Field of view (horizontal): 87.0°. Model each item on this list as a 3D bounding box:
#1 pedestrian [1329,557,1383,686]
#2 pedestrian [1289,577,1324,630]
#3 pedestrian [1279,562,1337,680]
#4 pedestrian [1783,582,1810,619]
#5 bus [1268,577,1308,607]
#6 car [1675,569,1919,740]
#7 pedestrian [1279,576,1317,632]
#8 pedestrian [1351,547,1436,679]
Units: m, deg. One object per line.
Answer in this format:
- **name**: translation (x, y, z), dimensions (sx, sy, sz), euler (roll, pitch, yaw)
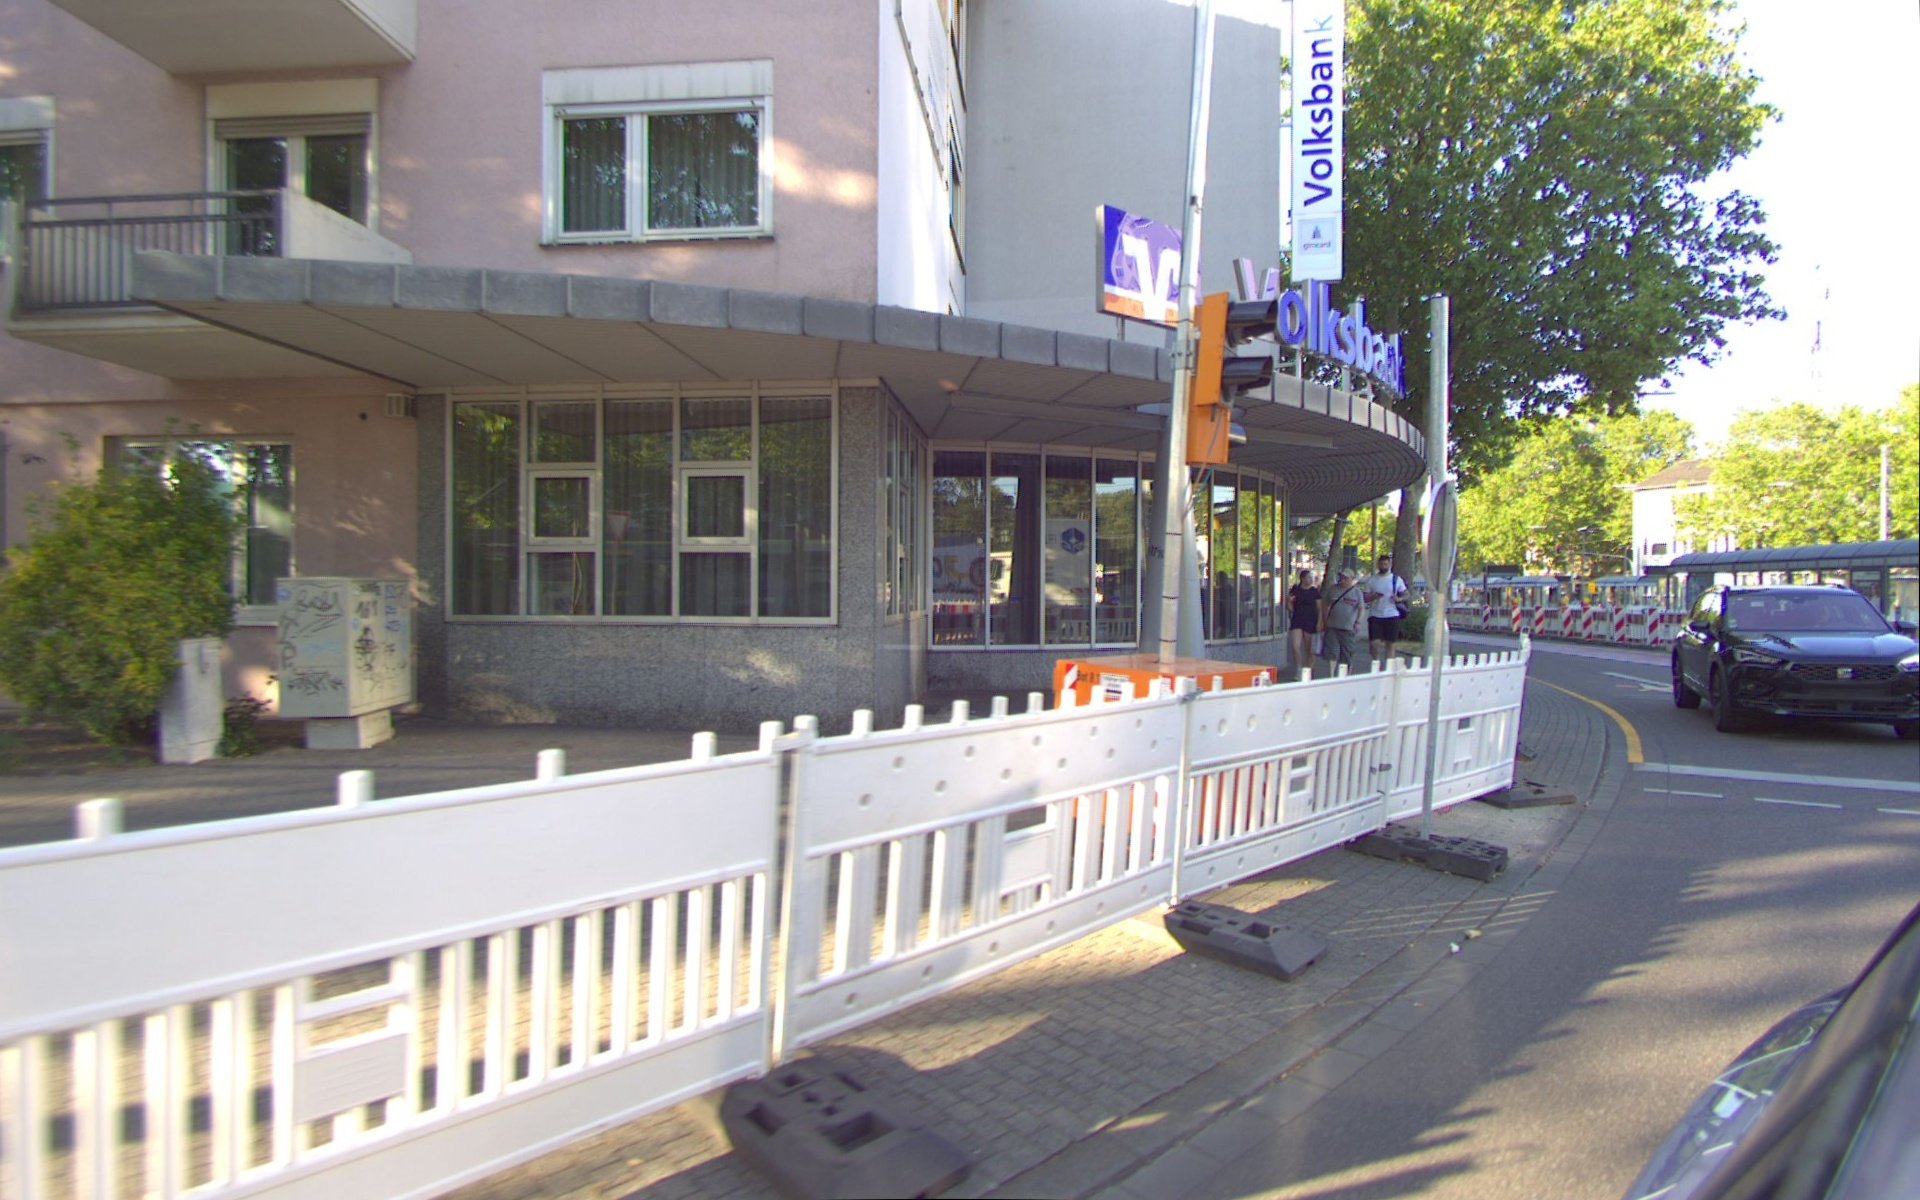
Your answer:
- **pedestrian**: translation (5.558, 0.288, 14.195), dimensions (0.578, 1.729, 0.674), euler (4, 1, 23)
- **pedestrian**: translation (11.982, 0.115, 35.044), dimensions (0.888, 1.718, 1.067), euler (4, 0, 10)
- **pedestrian**: translation (4.980, 0.290, 14.460), dimensions (0.628, 1.593, 0.768), euler (4, 2, 24)
- **pedestrian**: translation (46.427, 0.024, 56.175), dimensions (0.874, 2.039, 0.880), euler (0, 0, 13)
- **bus**: translation (37.562, -0.876, 115.752), dimensions (2.711, 3.248, 12.197), euler (-2, -1, 25)
- **car**: translation (9.979, 0.523, 11.956), dimensions (1.982, 1.668, 4.161), euler (-2, 0, 29)
- **pedestrian**: translation (10.988, 0.113, 32.930), dimensions (0.888, 1.731, 1.067), euler (4, 1, 10)
- **pedestrian**: translation (6.654, 0.189, 15.612), dimensions (0.827, 1.892, 1.096), euler (5, 1, 10)
